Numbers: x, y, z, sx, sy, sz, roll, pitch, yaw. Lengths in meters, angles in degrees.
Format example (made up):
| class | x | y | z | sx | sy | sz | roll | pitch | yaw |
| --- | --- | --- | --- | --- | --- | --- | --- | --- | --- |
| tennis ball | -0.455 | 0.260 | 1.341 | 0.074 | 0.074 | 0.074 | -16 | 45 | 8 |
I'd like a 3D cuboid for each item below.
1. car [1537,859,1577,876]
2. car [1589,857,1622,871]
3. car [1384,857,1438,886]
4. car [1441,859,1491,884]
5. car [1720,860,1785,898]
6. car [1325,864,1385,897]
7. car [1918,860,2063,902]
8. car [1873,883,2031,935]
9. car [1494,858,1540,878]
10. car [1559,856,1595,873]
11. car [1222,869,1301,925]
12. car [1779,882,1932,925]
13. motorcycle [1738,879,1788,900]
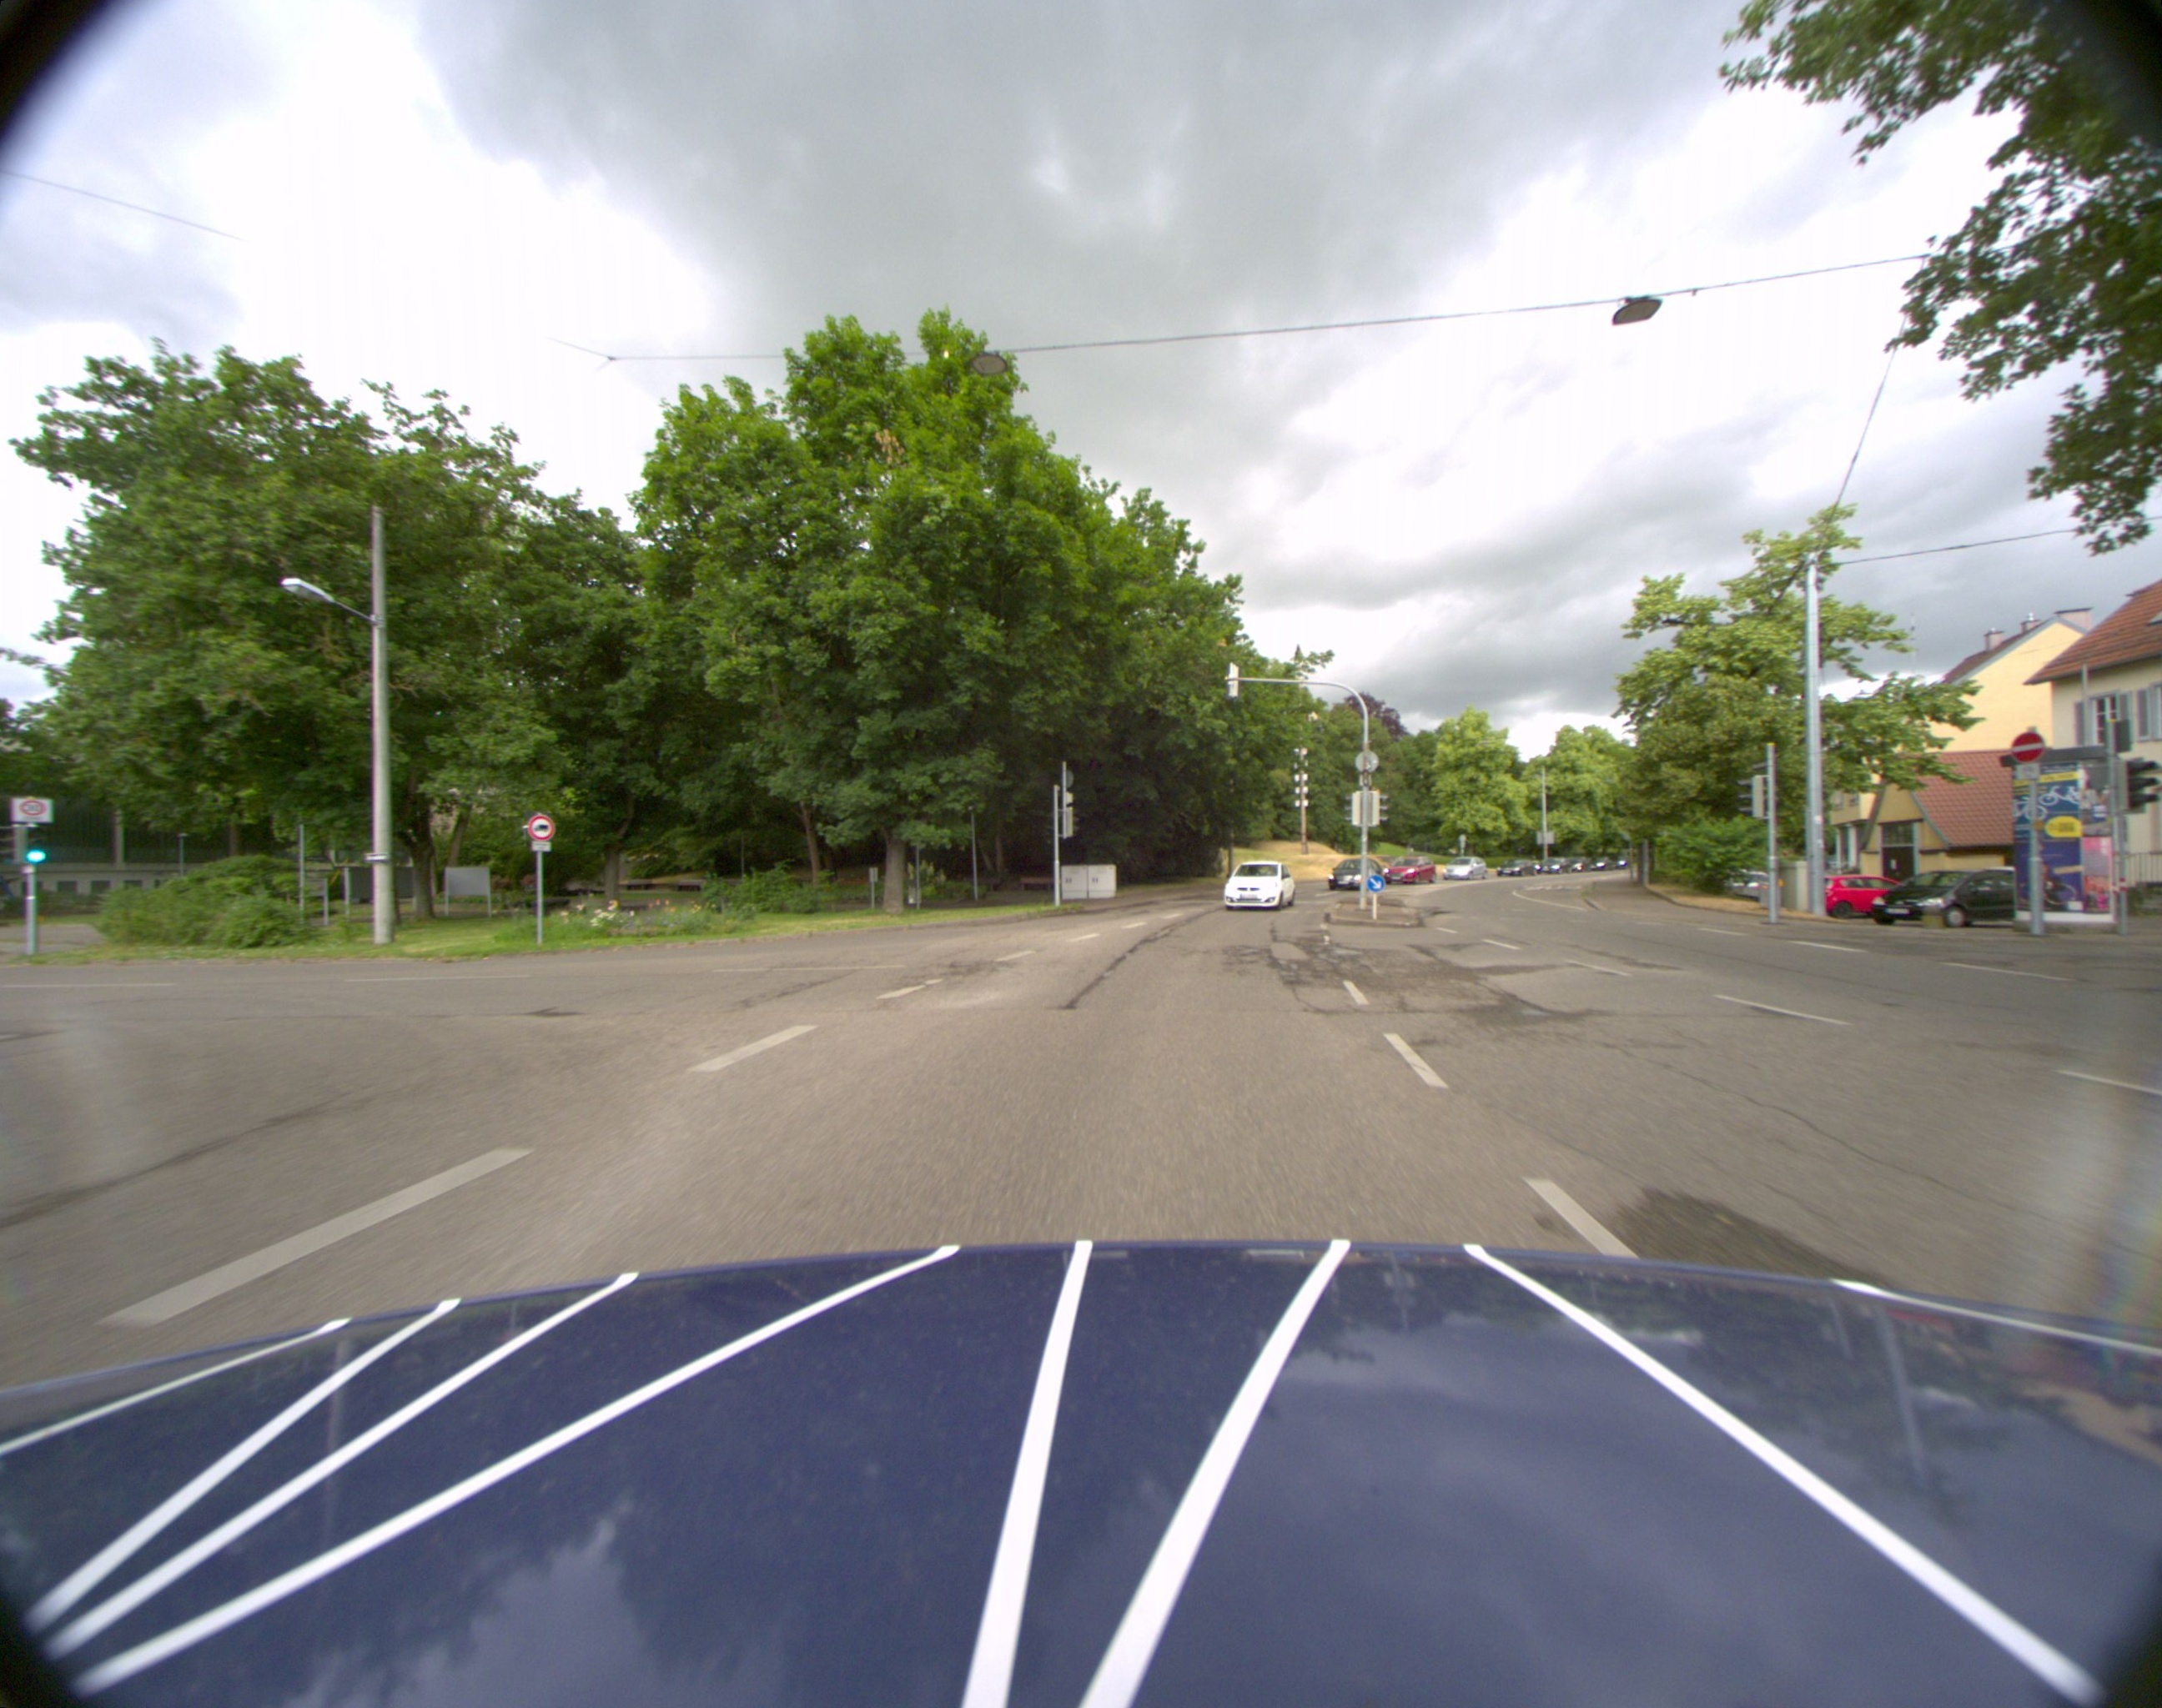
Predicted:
| class | x | y | z | sx | sy | sz | roll | pitch | yaw |
| --- | --- | --- | --- | --- | --- | --- | --- | --- | --- |
| car | 40.424 | 1.122 | 64.522 | 3.990 | 1.403 | 1.693 | -1 | 0 | -39 |
| car | 49.886 | 0.984 | 72.294 | 3.633 | 1.261 | 1.641 | -1 | 0 | -39 |
| car | 19.803 | 1.032 | 45.531 | 1.671 | 1.632 | 4.109 | 0 | 0 | 43 |
| car | 26.680 | 1.181 | 52.574 | 4.008 | 1.559 | 1.779 | -1 | 0 | -43 |
| car | 31.406 | 1.146 | 35.637 | 1.896 | 1.618 | 4.008 | -1 | 0 | 36 |
| car | 13.789 | 1.281 | 38.078 | 1.727 | 1.512 | 4.008 | 0 | 0 | 37 |
| car | 34.586 | 0.983 | 29.045 | 1.651 | 1.483 | 3.484 | -1 | 0 | 8 |
| car | 23.823 | 1.474 | 20.816 | 3.401 | 1.302 | 1.482 | 1 | -1 | -15 |
| car | 34.336 | 1.060 | 59.764 | 4.008 | 1.449 | 1.850 | -1 | 0 | -39 |
| car | 44.755 | 0.936 | 68.542 | 3.875 | 1.438 | 1.703 | -1 | 0 | -40 |
| car | 5.691 | 1.272 | 23.658 | 1.625 | 1.499 | 4.007 | -1 | 0 | 24 |
| car | 26.365 | 1.662 | 25.935 | 3.627 | 1.345 | 1.599 | -1 | 0 | -1 |
| motorcycle | 29.081 | 1.507 | 32.430 | 1.579 | 0.819 | 0.419 | -1 | 0 | 38 |
